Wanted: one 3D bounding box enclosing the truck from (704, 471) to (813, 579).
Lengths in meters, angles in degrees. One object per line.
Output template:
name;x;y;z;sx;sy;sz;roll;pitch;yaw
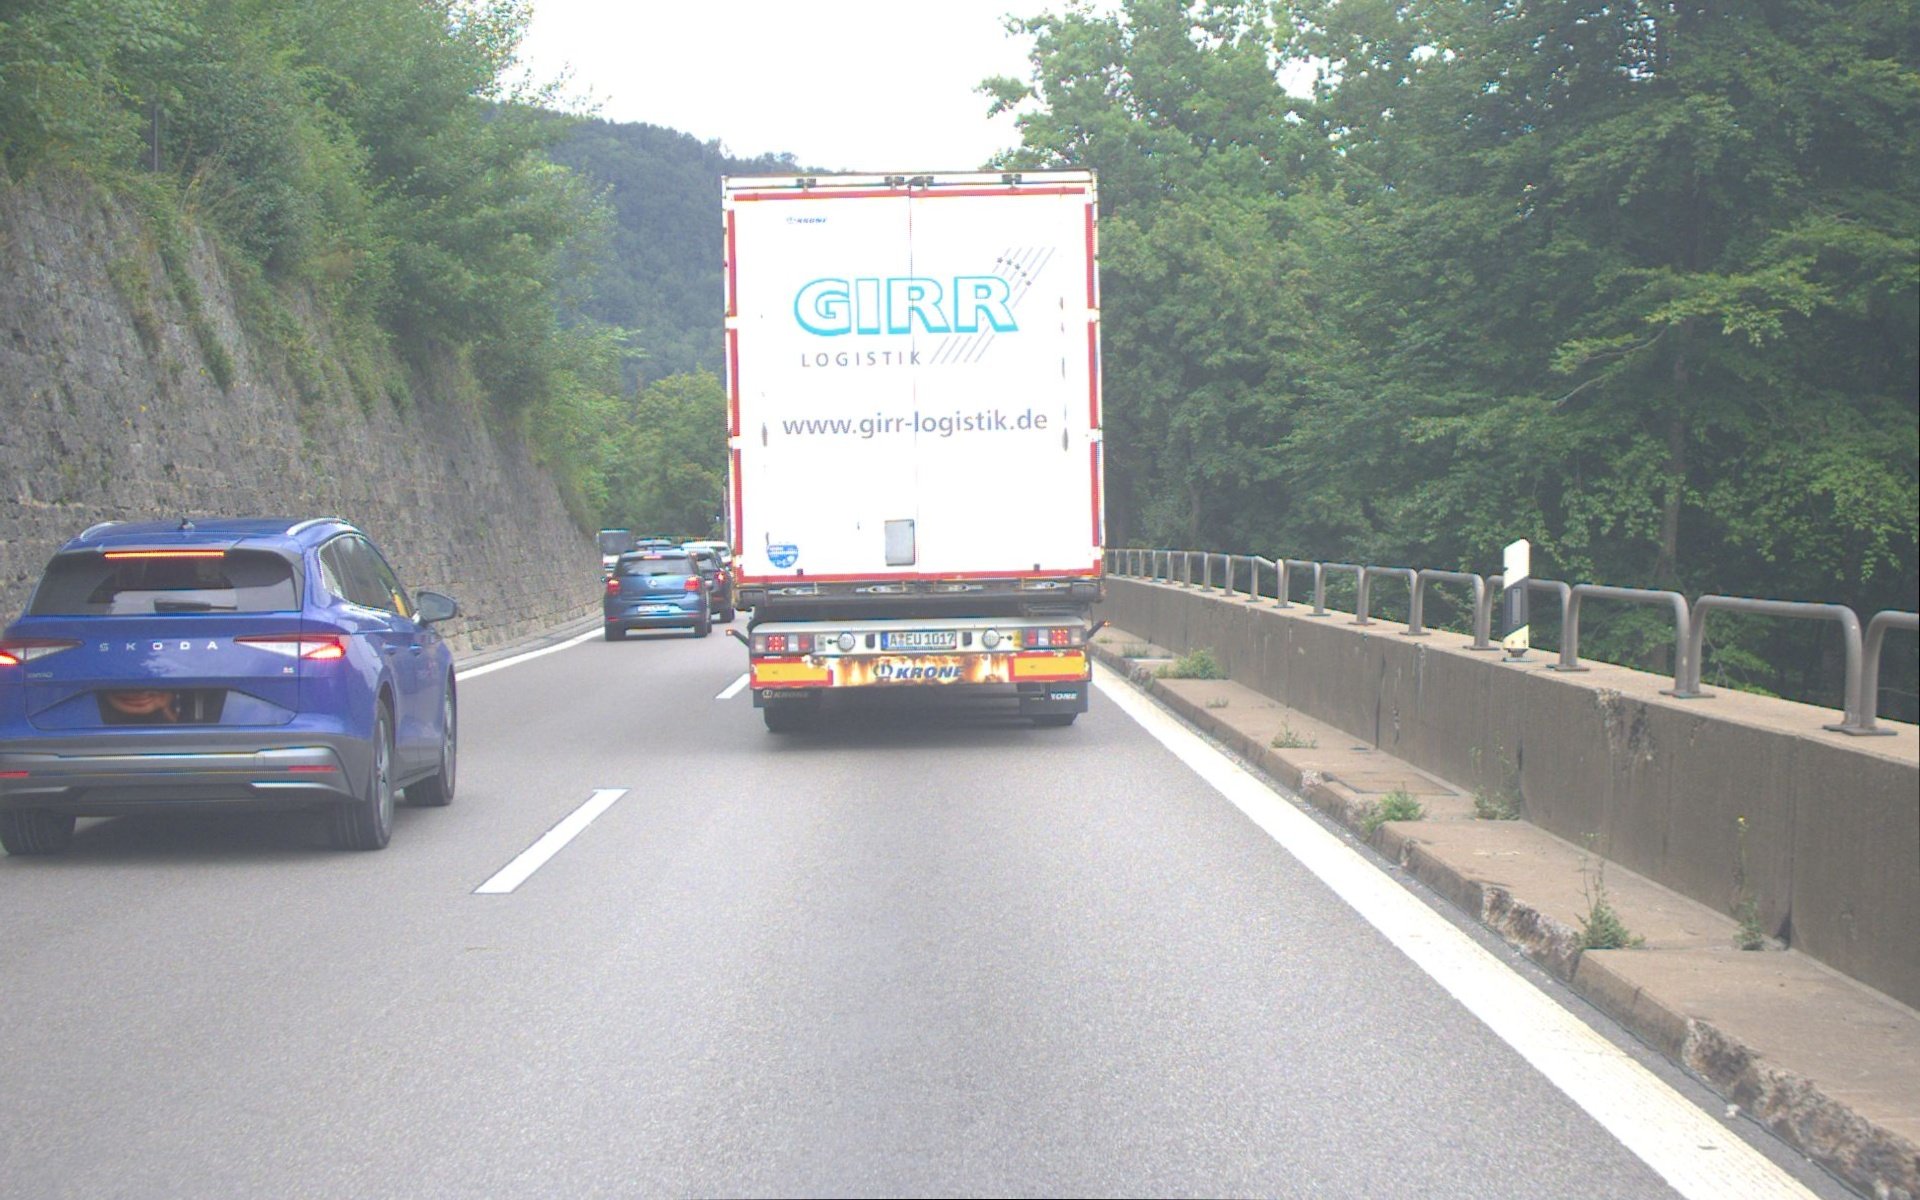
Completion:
truck;-7.723;-2.842;130.161;2.633;3.844;12.363;1;1;-10

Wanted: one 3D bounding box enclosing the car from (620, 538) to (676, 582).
car;-11.648;-1.515;128.176;1.896;1.545;4.250;-1;1;-7

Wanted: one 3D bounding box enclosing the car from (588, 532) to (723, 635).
car;-4.968;-0.272;56.628;1.993;1.590;4.354;-2;0;-3

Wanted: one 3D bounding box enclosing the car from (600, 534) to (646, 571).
car;-15.618;-2.189;159.116;1.745;1.581;4.001;4;0;-10

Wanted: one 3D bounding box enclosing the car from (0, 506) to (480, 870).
car;-3.774;0.351;17.926;1.993;1.626;5.009;0;1;-2

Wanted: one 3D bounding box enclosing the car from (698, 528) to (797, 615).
car;-4.076;-0.570;66.383;1.745;1.581;4.000;2;1;-2

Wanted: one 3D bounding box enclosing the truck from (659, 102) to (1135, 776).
truck;-0.633;-1.220;30.714;3.084;4.448;15.157;2;1;-2
